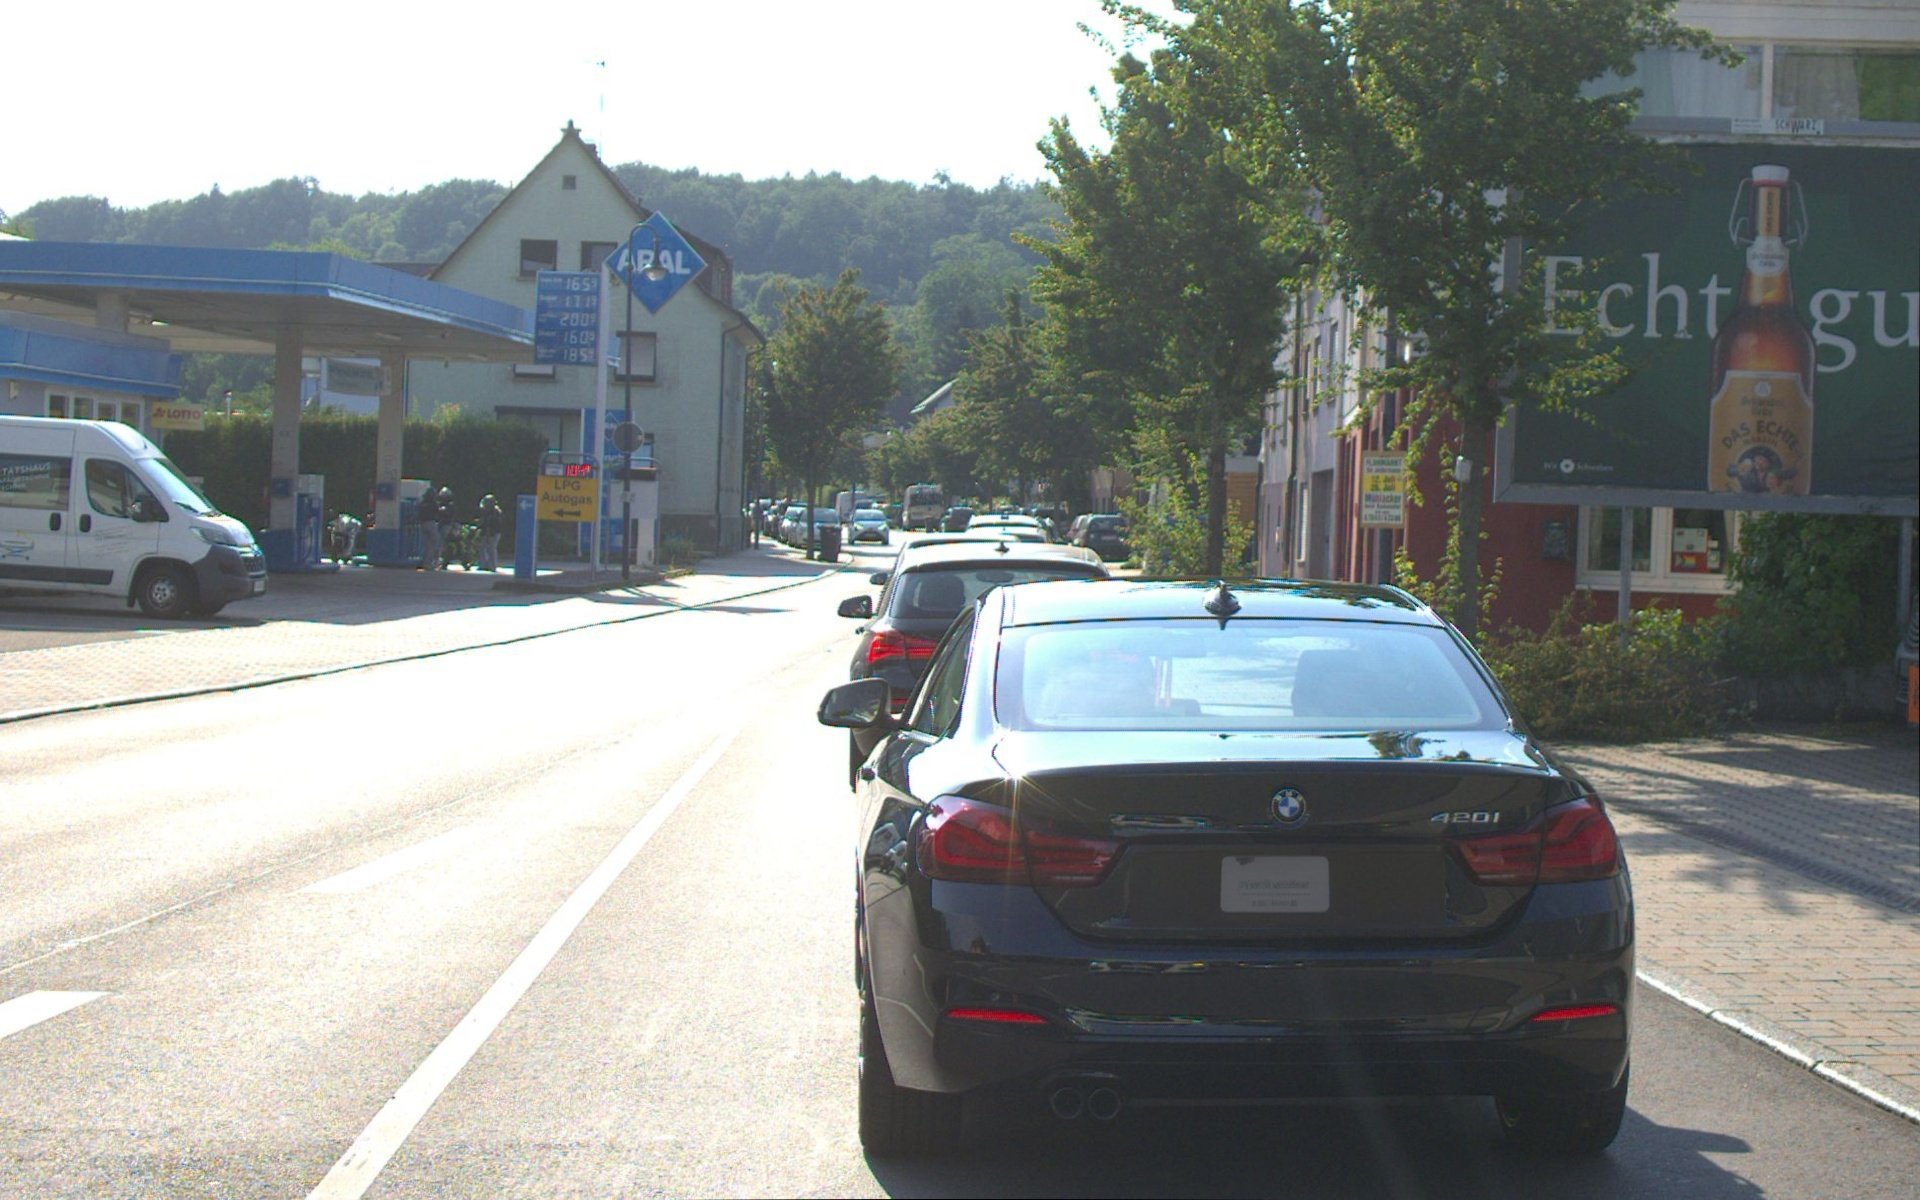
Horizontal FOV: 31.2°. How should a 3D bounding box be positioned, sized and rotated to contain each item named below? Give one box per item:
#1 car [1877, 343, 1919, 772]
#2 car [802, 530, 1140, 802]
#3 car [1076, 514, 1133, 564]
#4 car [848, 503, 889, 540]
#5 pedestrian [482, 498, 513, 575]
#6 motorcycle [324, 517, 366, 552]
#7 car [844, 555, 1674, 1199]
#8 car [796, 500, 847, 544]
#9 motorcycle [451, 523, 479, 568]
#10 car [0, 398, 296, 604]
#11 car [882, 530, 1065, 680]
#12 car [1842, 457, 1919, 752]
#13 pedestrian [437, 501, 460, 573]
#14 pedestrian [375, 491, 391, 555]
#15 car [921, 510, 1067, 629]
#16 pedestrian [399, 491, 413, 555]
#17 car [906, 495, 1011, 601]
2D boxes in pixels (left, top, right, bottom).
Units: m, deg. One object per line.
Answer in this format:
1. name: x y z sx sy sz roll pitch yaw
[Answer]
1. car: 8.653 -0.183 19.939 6.043 2.507 2.044 1 2 -1
2. car: 0.151 0.328 20.678 1.772 1.451 3.515 1 1 4
3. car: 4.554 -1.942 108.903 1.597 1.480 3.475 2 2 0
4. car: -3.839 -3.323 144.545 1.597 1.480 3.475 2 2 0
5. pedestrian: -10.057 -1.384 74.777 0.610 1.664 0.442 1 2 -2
6. motorcycle: -13.396 -1.429 74.946 0.459 0.727 1.473 1 2 8
7. car: 0.562 0.609 9.389 1.699 1.364 4.263 1 2 -3
8. car: -4.884 -2.767 121.659 1.597 1.480 3.475 2 2 0
9. motorcycle: -10.710 -1.188 74.452 0.363 0.940 1.696 1 2 0
10. car: -11.818 -1.324 43.894 6.159 2.436 2.249 2 2 1
11. car: 0.186 0.015 35.474 1.754 1.409 3.422 1 2 2
12. car: 7.898 0.042 22.838 3.599 1.887 1.587 1 2 -2
13. pedestrian: -11.144 -1.374 74.904 0.407 1.541 0.433 1 2 -2
14. pedestrian: -12.353 -1.655 73.616 0.287 1.362 0.263 1 2 -3
15. car: 0.526 -0.469 49.136 1.592 1.594 3.892 1 2 7
16. pedestrian: -11.950 -1.663 74.102 0.262 1.378 0.288 1 2 -6
17. car: -0.002 -0.929 60.043 1.603 1.761 3.411 1 2 3
